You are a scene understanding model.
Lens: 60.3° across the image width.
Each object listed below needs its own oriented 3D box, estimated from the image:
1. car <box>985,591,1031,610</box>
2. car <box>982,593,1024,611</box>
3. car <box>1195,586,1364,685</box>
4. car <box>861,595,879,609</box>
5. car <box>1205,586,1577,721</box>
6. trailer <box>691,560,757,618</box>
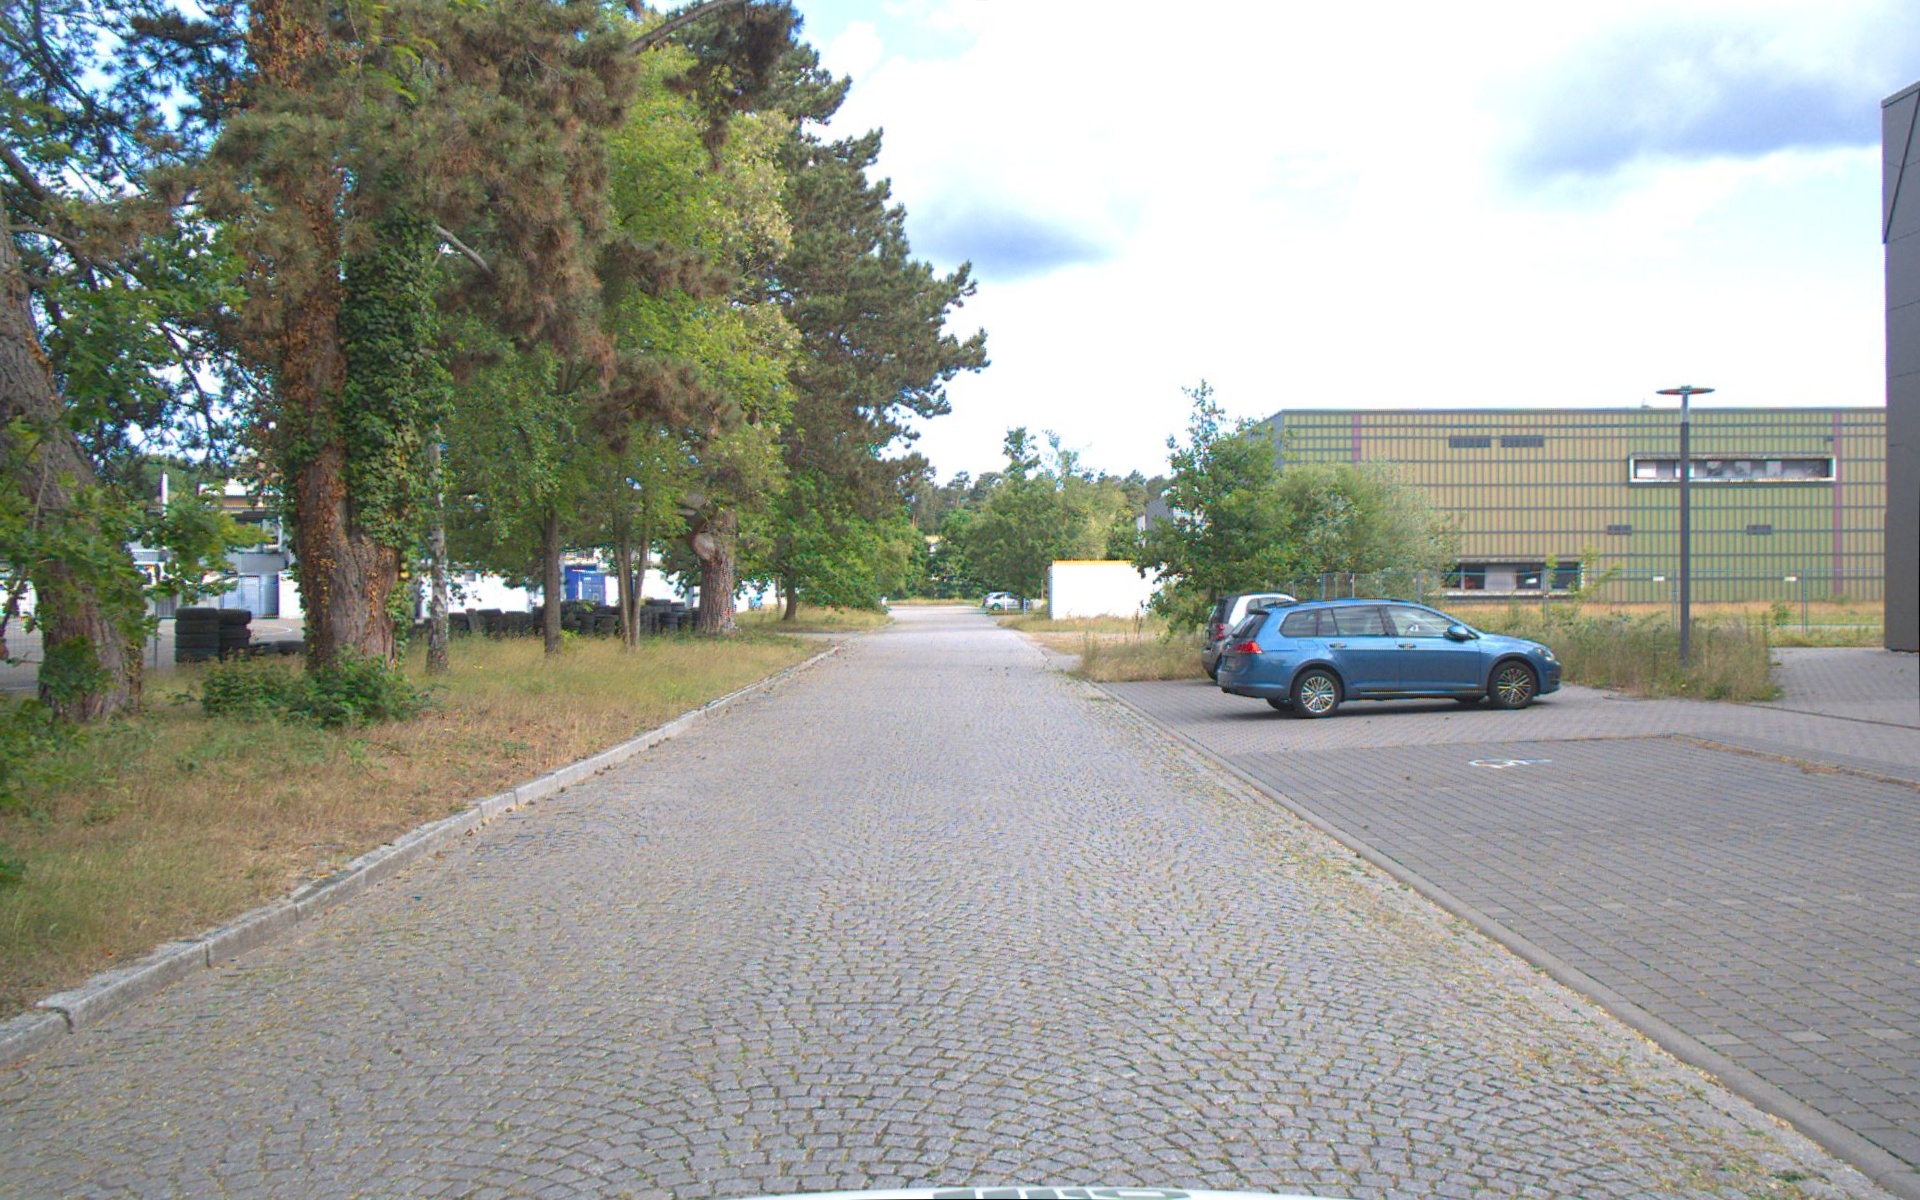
[{"bbox_3d":[4.099,0.026,141.880,3.903,1.473,1.653,-2,0,0],"label":"car"},{"bbox_3d":[3.592,0.148,139.180,3.450,1.386,1.622,-2,0,0],"label":"car"},{"bbox_3d":[5.656,0.614,29.478,2.654,1.583,1.654,-3,0,0],"label":"car"},{"bbox_3d":[-8.729,0.197,160.601,1.614,1.393,3.997,0,0,0],"label":"car"},{"bbox_3d":[5.657,0.675,22.050,4.401,1.501,1.829,-3,0,-3],"label":"car"},{"bbox_3d":[-15.430,-0.709,108.812,2.571,3.661,10.179,0,0,2],"label":"trailer"}]
